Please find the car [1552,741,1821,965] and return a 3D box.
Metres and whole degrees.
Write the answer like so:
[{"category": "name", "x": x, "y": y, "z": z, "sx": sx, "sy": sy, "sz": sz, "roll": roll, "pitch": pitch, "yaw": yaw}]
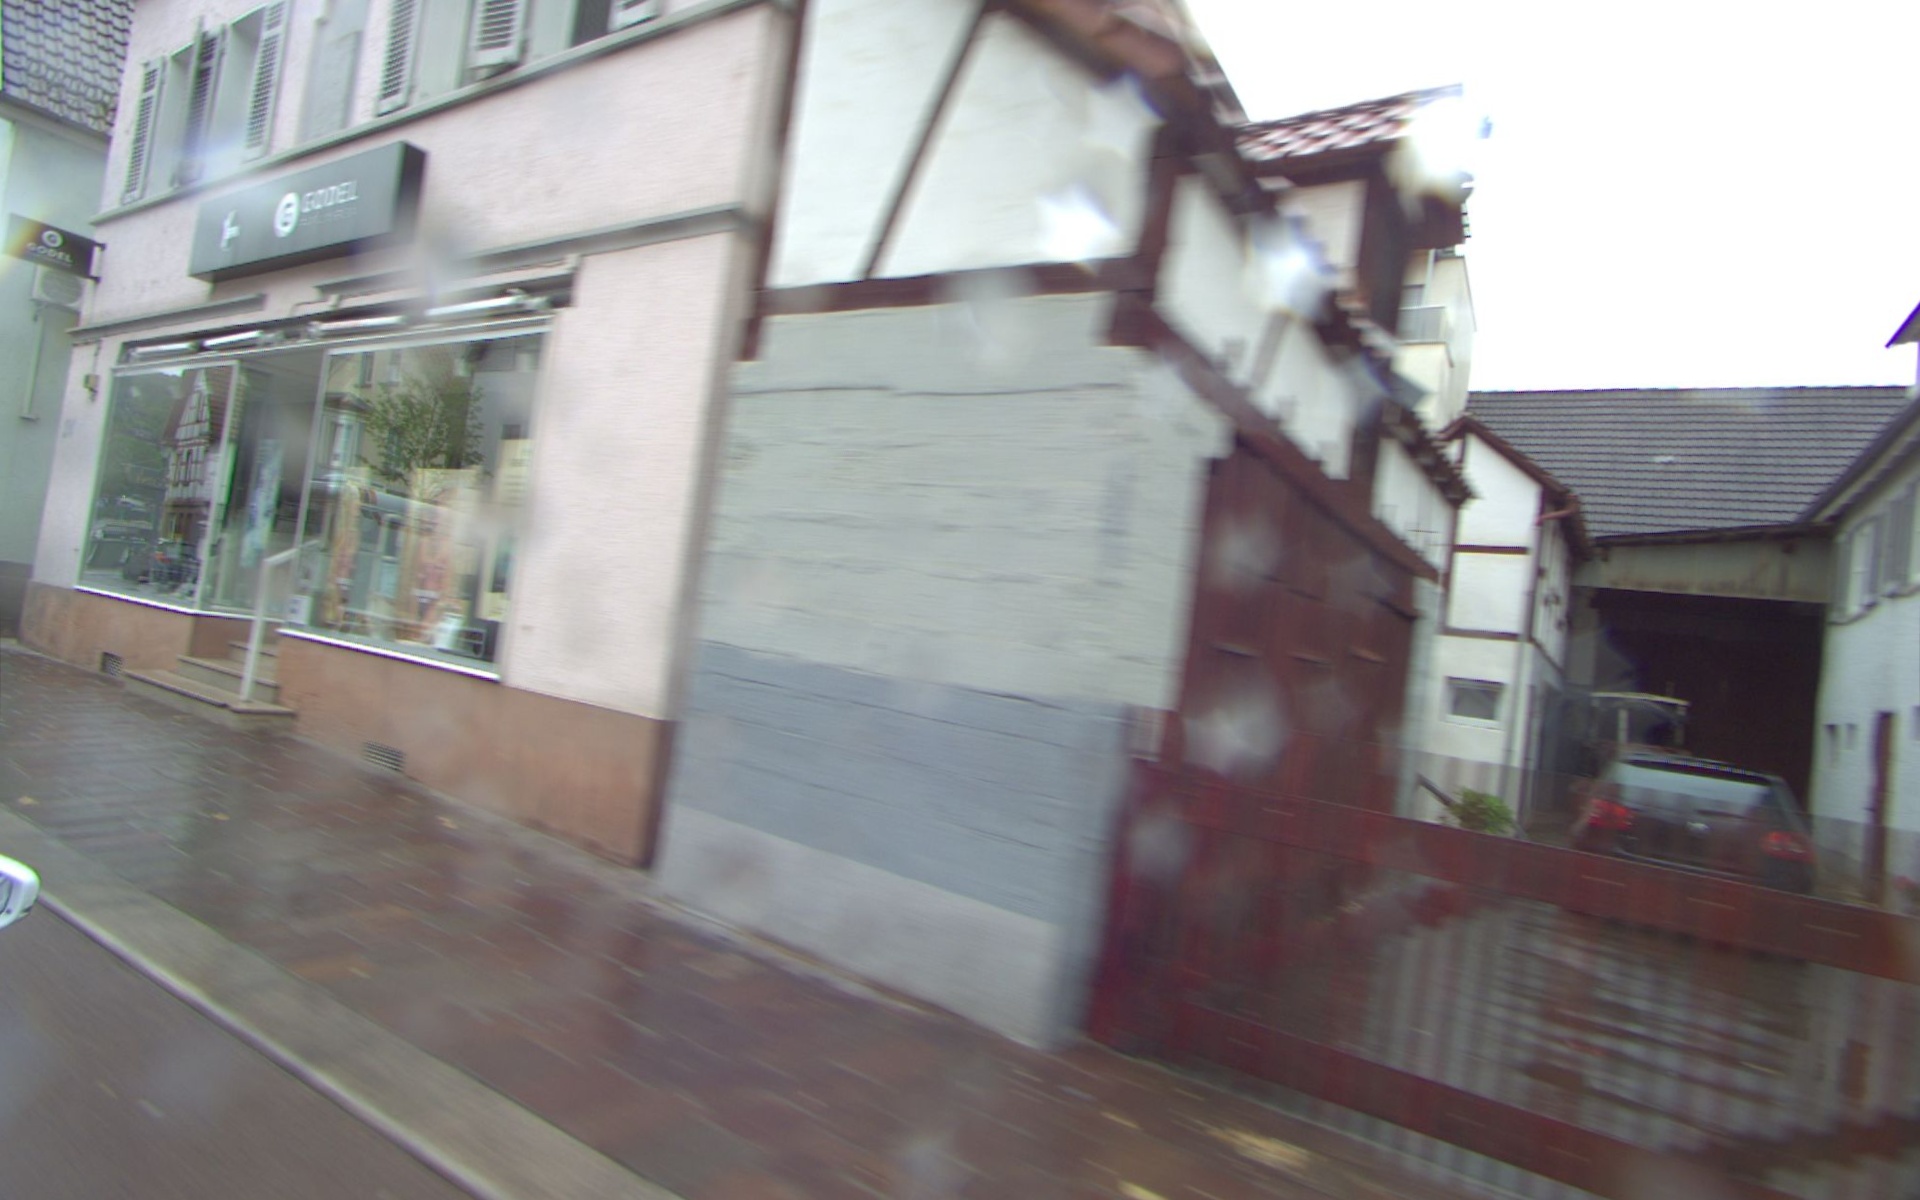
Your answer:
[{"category": "car", "x": 6.759, "y": 2.186, "z": 9.480, "sx": 1.641, "sy": 1.438, "sz": 3.410, "roll": 5, "pitch": -4, "yaw": 36}]
